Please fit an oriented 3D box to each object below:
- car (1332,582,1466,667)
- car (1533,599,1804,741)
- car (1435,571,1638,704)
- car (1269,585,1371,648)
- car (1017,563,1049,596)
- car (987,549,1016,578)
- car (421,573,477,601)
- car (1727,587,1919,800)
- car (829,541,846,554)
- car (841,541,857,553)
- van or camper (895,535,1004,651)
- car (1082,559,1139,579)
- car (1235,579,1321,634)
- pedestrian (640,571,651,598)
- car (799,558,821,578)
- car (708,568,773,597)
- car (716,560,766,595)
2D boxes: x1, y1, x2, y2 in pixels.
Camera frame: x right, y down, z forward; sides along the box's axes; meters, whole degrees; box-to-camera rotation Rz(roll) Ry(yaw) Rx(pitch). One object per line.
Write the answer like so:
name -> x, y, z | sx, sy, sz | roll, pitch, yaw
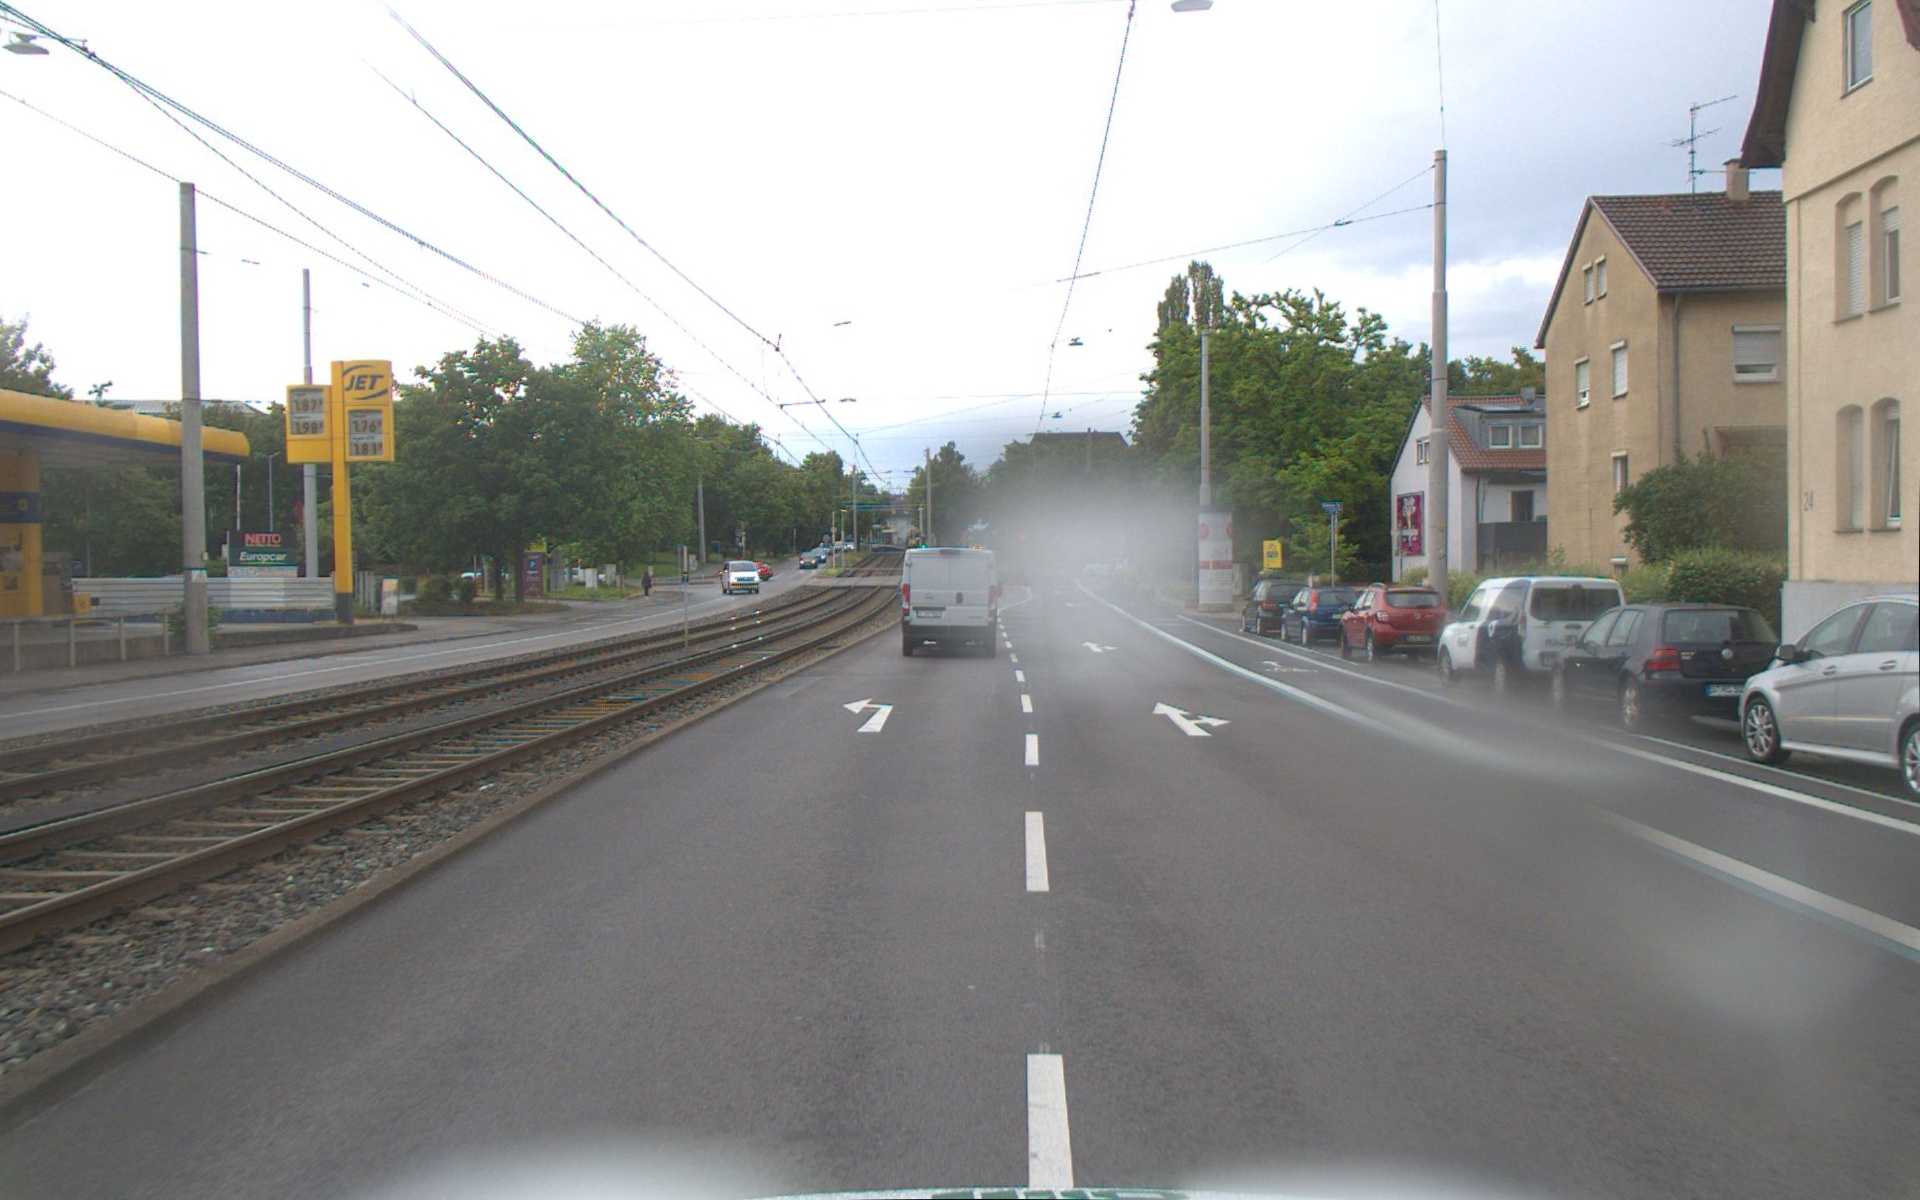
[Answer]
car -> 9.221, 0.468, 35.069 | 1.809, 1.674, 3.955 | 1, 1, 1
car -> 8.291, 0.747, 19.736 | 1.612, 1.471, 3.955 | 1, 0, 2
car -> 8.636, 0.493, 25.122 | 1.711, 1.839, 3.955 | 1, 1, 1
car -> 9.247, 0.405, 42.784 | 1.809, 1.526, 3.954 | 1, 0, 1
car -> 4.735, -1.309, 107.521 | 1.952, 2.049, 4.001 | 1, -1, 2
car -> 3.147, -2.746, 125.870 | 1.953, 2.049, 3.999 | 1, -1, -2
car -> -39.744, -1.002, 128.753 | 3.915, 2.049, 1.995 | 1, -1, -11
car -> 8.263, 0.725, 14.114 | 1.612, 1.643, 4.105 | 1, 0, 2
car -> -16.865, -7.263, 228.487 | 1.952, 1.680, 4.000 | -1, 0, 1
car -> -16.561, -7.881, 246.597 | 1.952, 1.680, 4.000 | -1, 0, 1
van or camper -> -0.276, -0.114, 35.723 | 2.154, 2.292, 4.682 | 1, -1, -2
car -> 11.523, -2.358, 126.779 | 4.097, 1.502, 1.662 | -1, 0, 34
car -> 9.278, 0.182, 48.544 | 1.809, 1.526, 3.954 | 1, 0, 1
pedestrian -> -17.919, -0.872, 94.126 | 0.601, 1.501, 0.641 | -1, 0, -12
car -> -14.078, -2.981, 155.345 | 1.655, 1.741, 3.776 | 1, -1, 0
car -> -16.687, -1.321, 125.773 | 4.417, 2.049, 2.001 | 1, -1, 14
car -> -13.501, -1.341, 101.927 | 1.966, 2.049, 4.496 | 1, -1, -22
